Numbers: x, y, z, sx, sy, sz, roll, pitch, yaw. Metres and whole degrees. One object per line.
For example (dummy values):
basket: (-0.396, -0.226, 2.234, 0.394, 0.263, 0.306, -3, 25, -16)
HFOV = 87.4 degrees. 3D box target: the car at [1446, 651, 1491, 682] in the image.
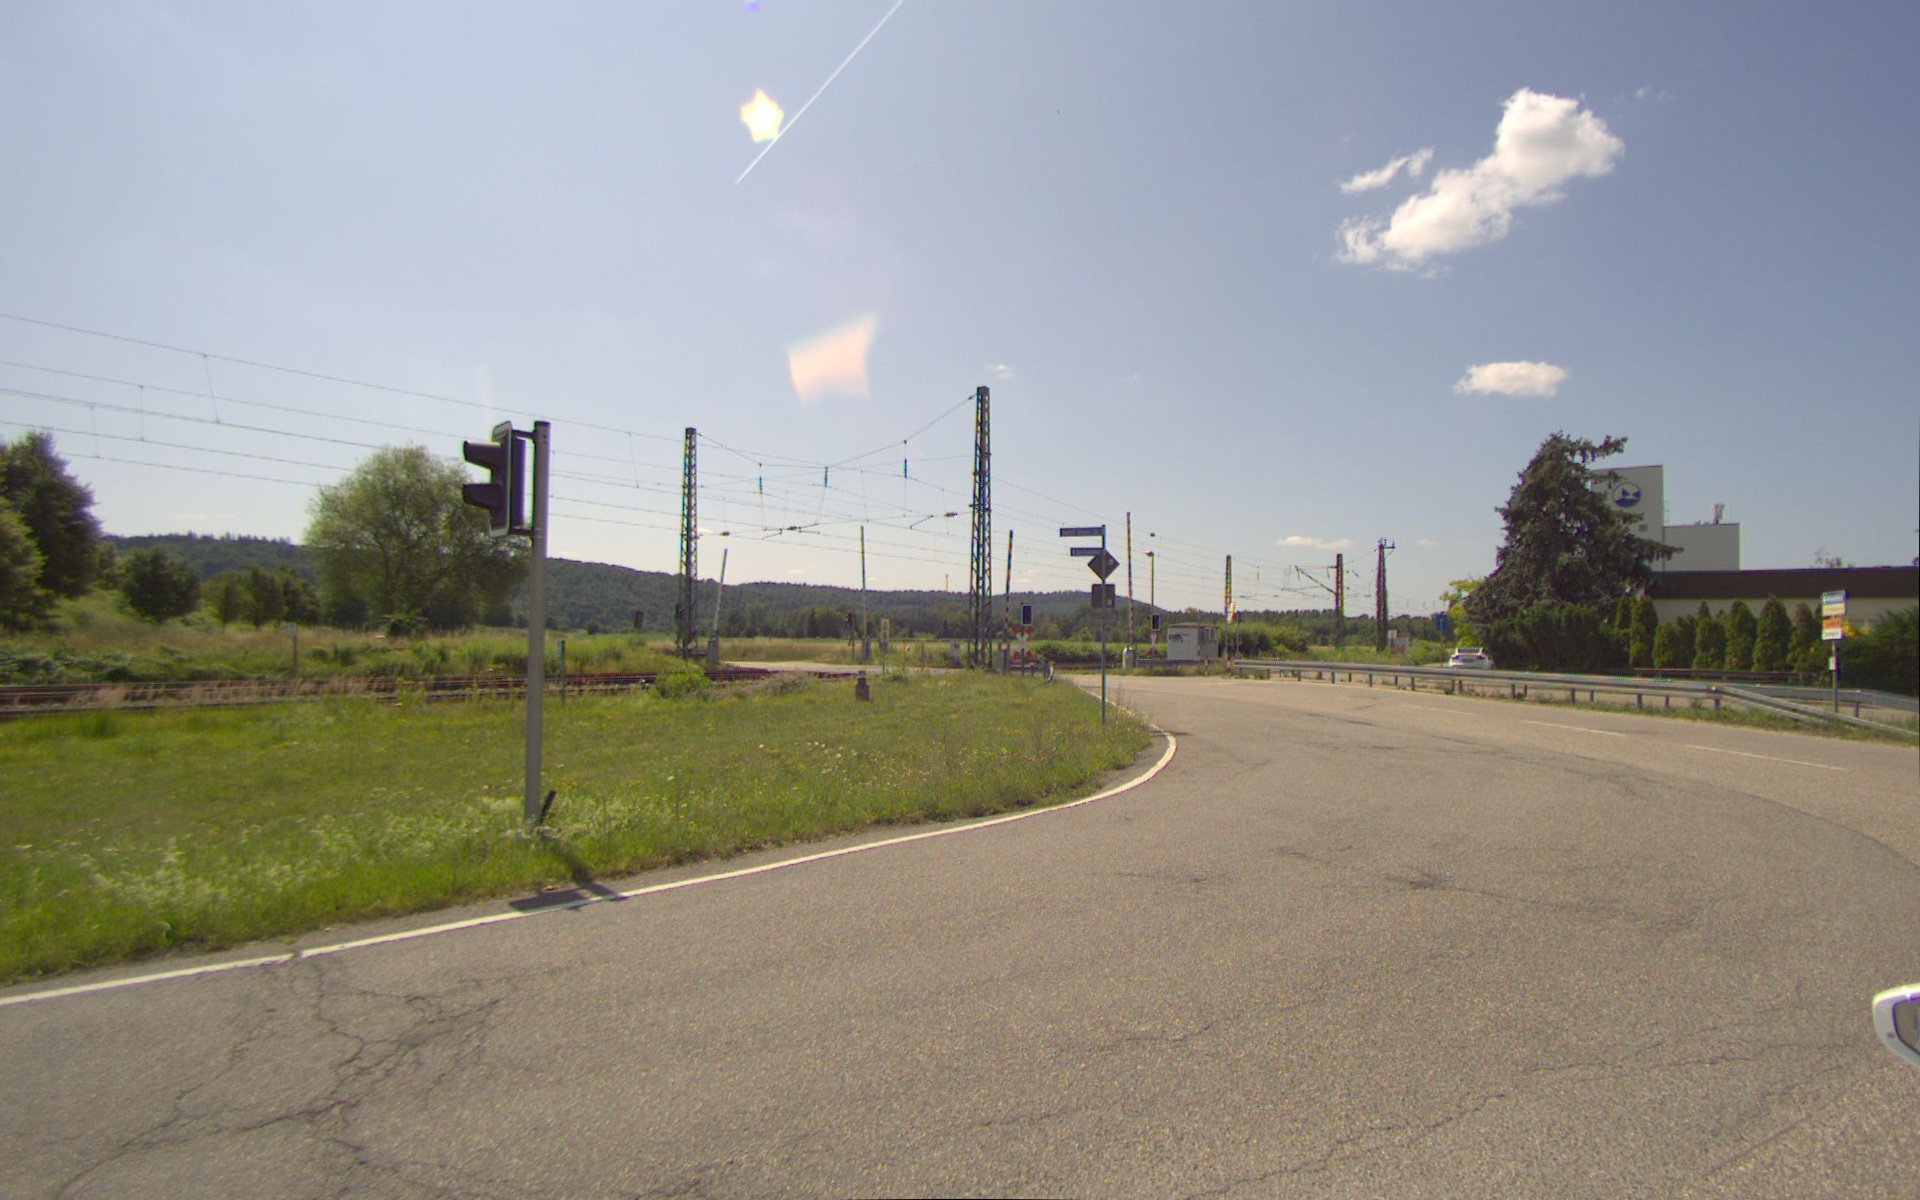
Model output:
car: (27.478, 3.530, 54.187, 1.964, 1.529, 4.446, 0, -2, 30)
